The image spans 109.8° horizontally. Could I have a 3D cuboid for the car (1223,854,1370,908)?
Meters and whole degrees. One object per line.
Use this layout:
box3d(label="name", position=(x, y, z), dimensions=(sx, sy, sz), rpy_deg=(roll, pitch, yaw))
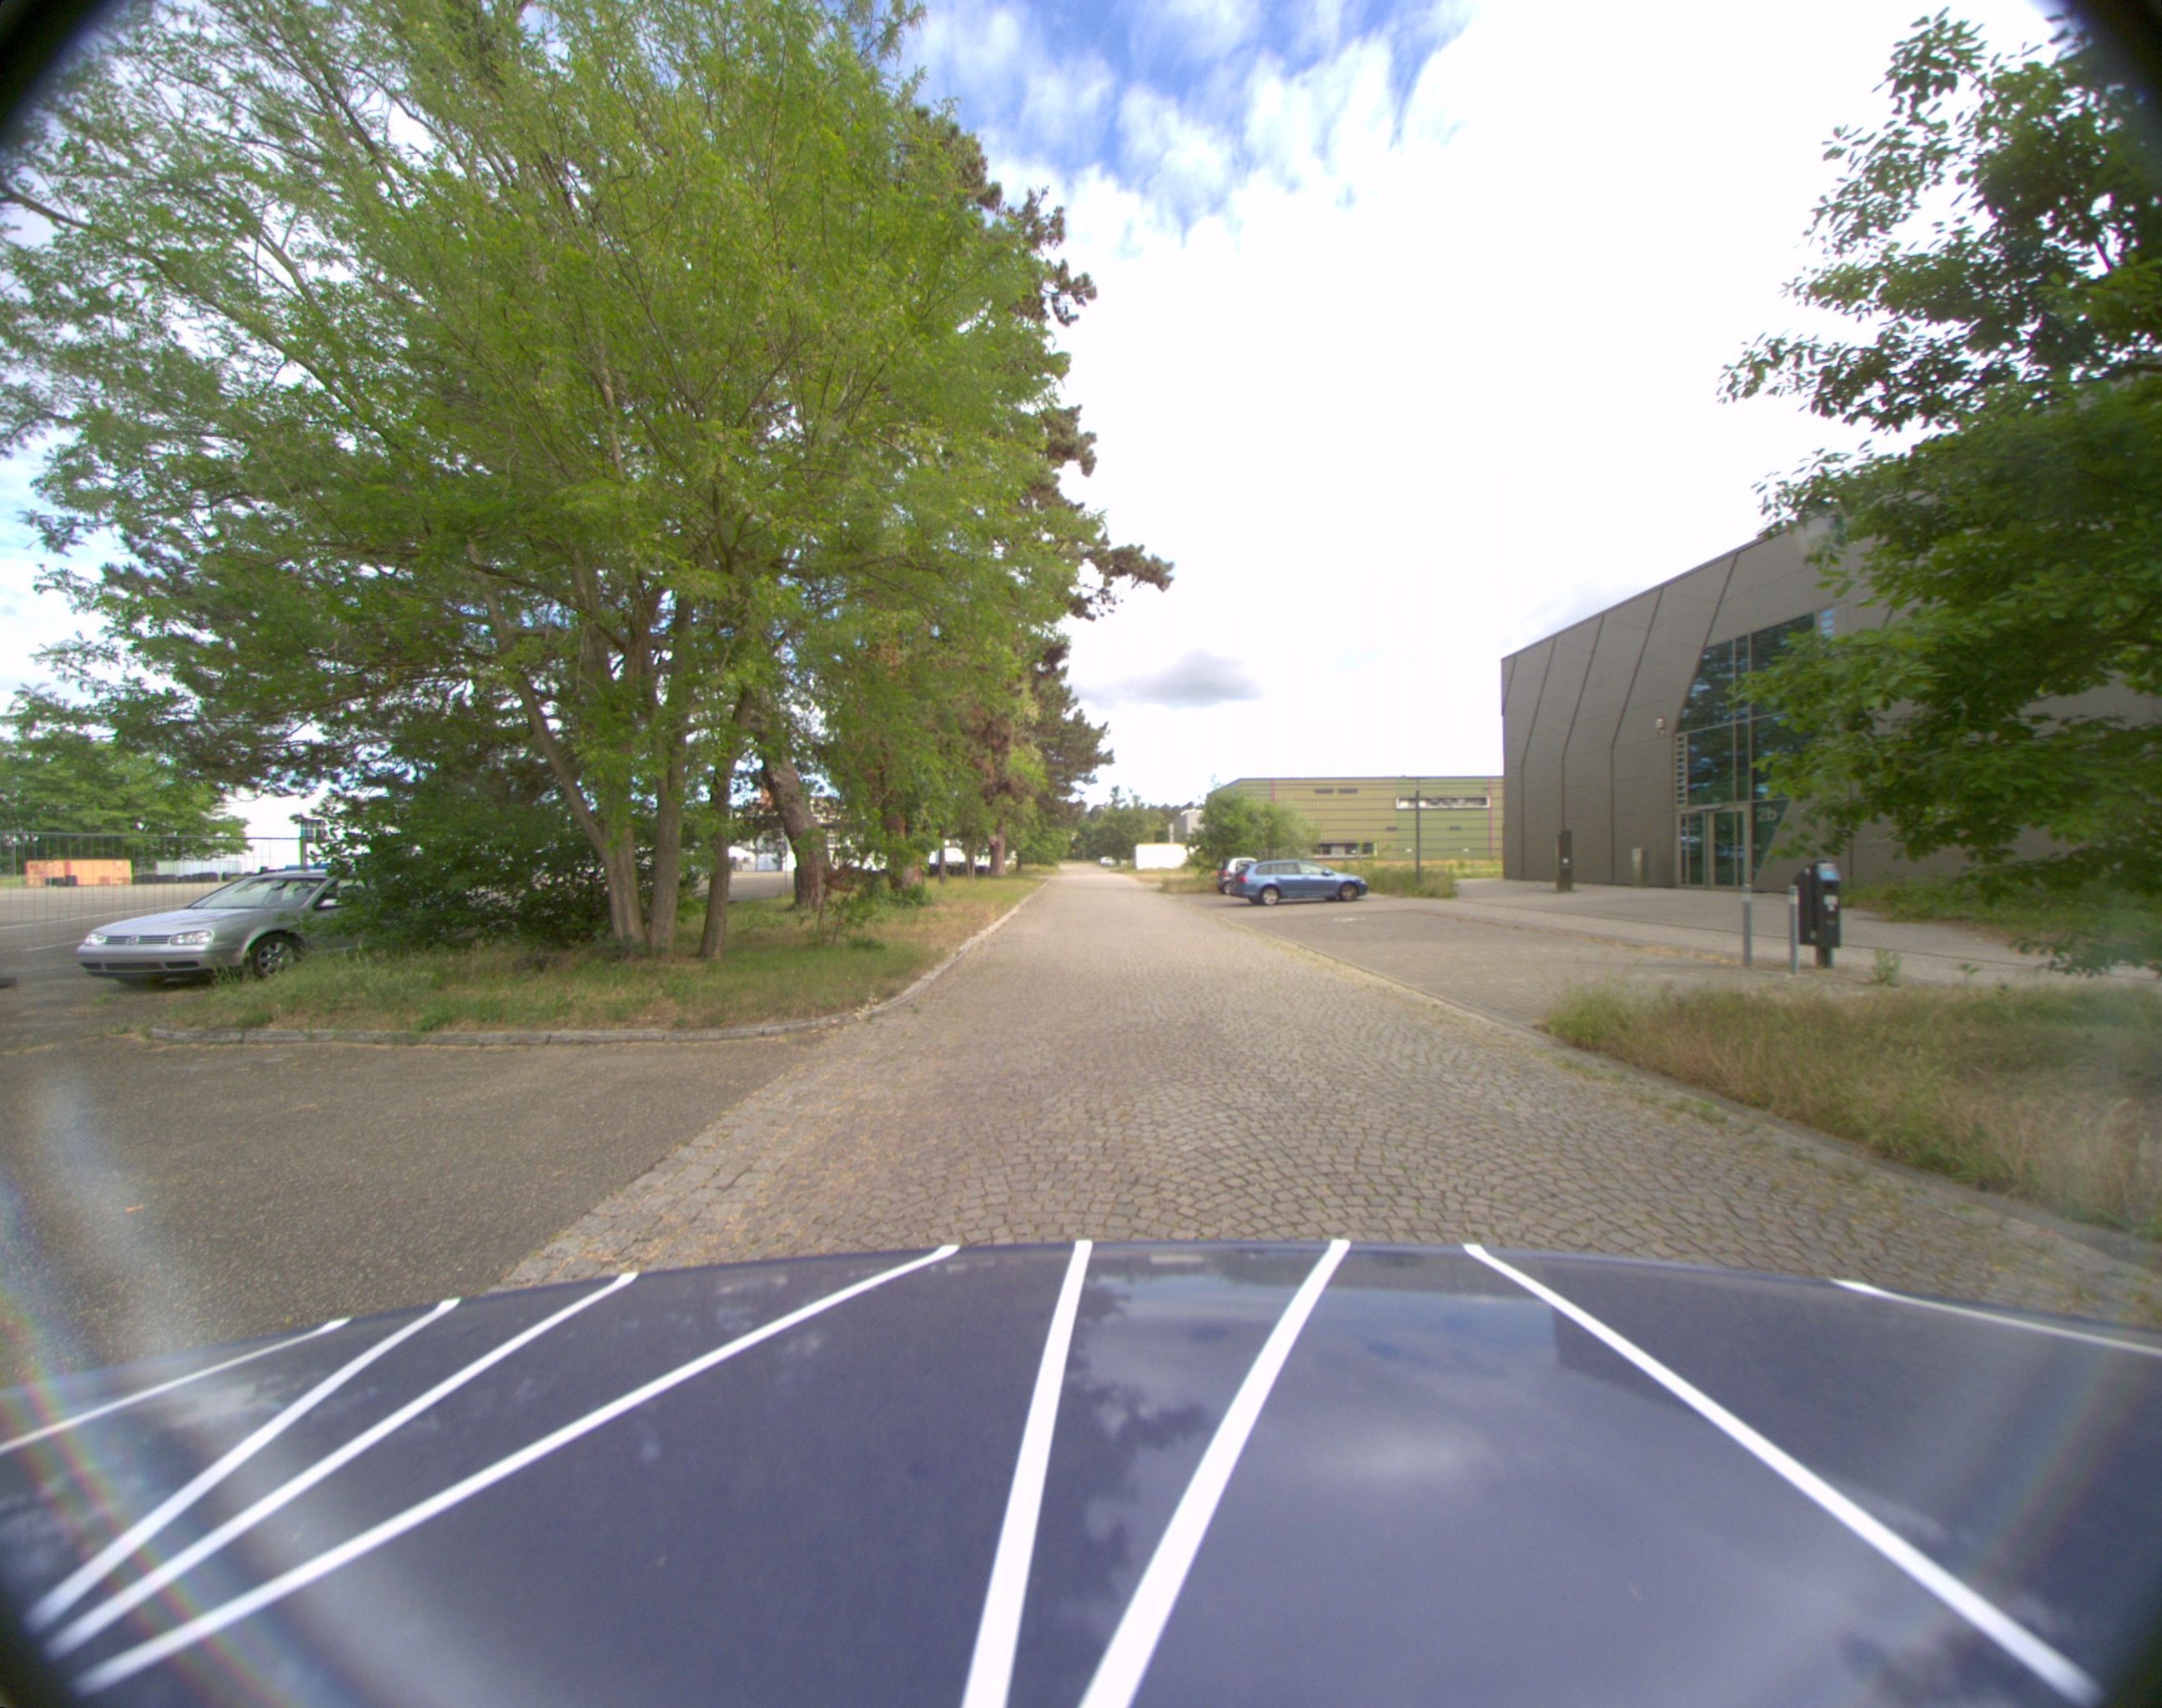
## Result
box3d(label="car", position=(7.188, 0.879, 25.578), dimensions=(4.404, 1.501, 1.716), rpy_deg=(-3, 0, -3))

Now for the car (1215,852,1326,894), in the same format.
box3d(label="car", position=(8.109, 0.818, 32.884), dimensions=(4.401, 1.537, 1.842), rpy_deg=(-3, 0, 6))

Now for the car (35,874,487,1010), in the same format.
box3d(label="car", position=(-11.165, 1.074, 10.939), dimensions=(1.759, 1.440, 4.327), rpy_deg=(-1, 0, 1))
